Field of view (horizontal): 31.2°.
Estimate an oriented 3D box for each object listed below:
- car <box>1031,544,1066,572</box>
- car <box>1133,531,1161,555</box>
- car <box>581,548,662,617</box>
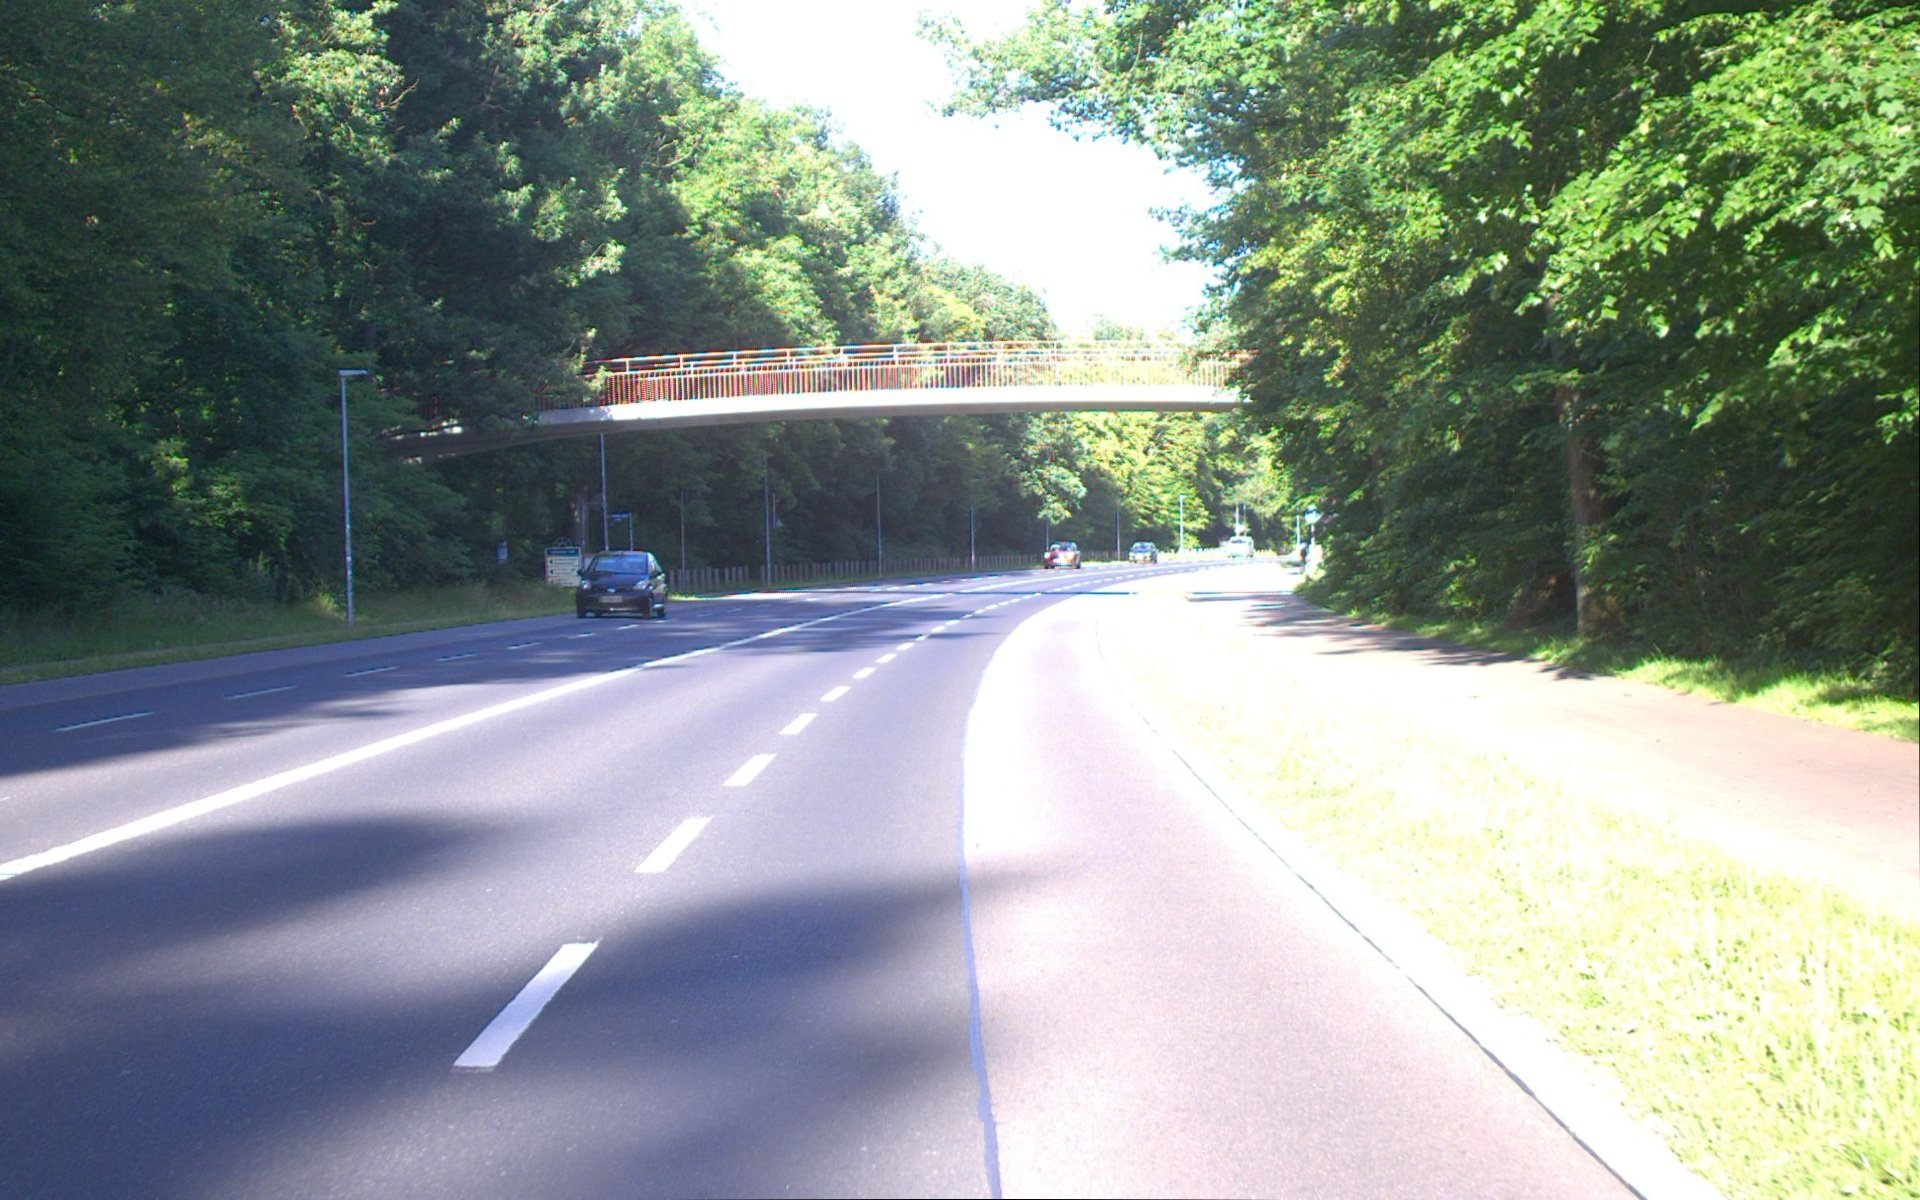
[{"bbox_3d":[5.249,-2.484,203.510,1.762,1.577,4.168,0,1,5],"label":"car"},{"bbox_3d":[13.155,-4.011,241.470,1.723,1.568,4.177,1,1,5],"label":"car"},{"bbox_3d":[-7.299,-0.398,74.365,1.495,1.439,3.500,-1,1,-2],"label":"car"}]
